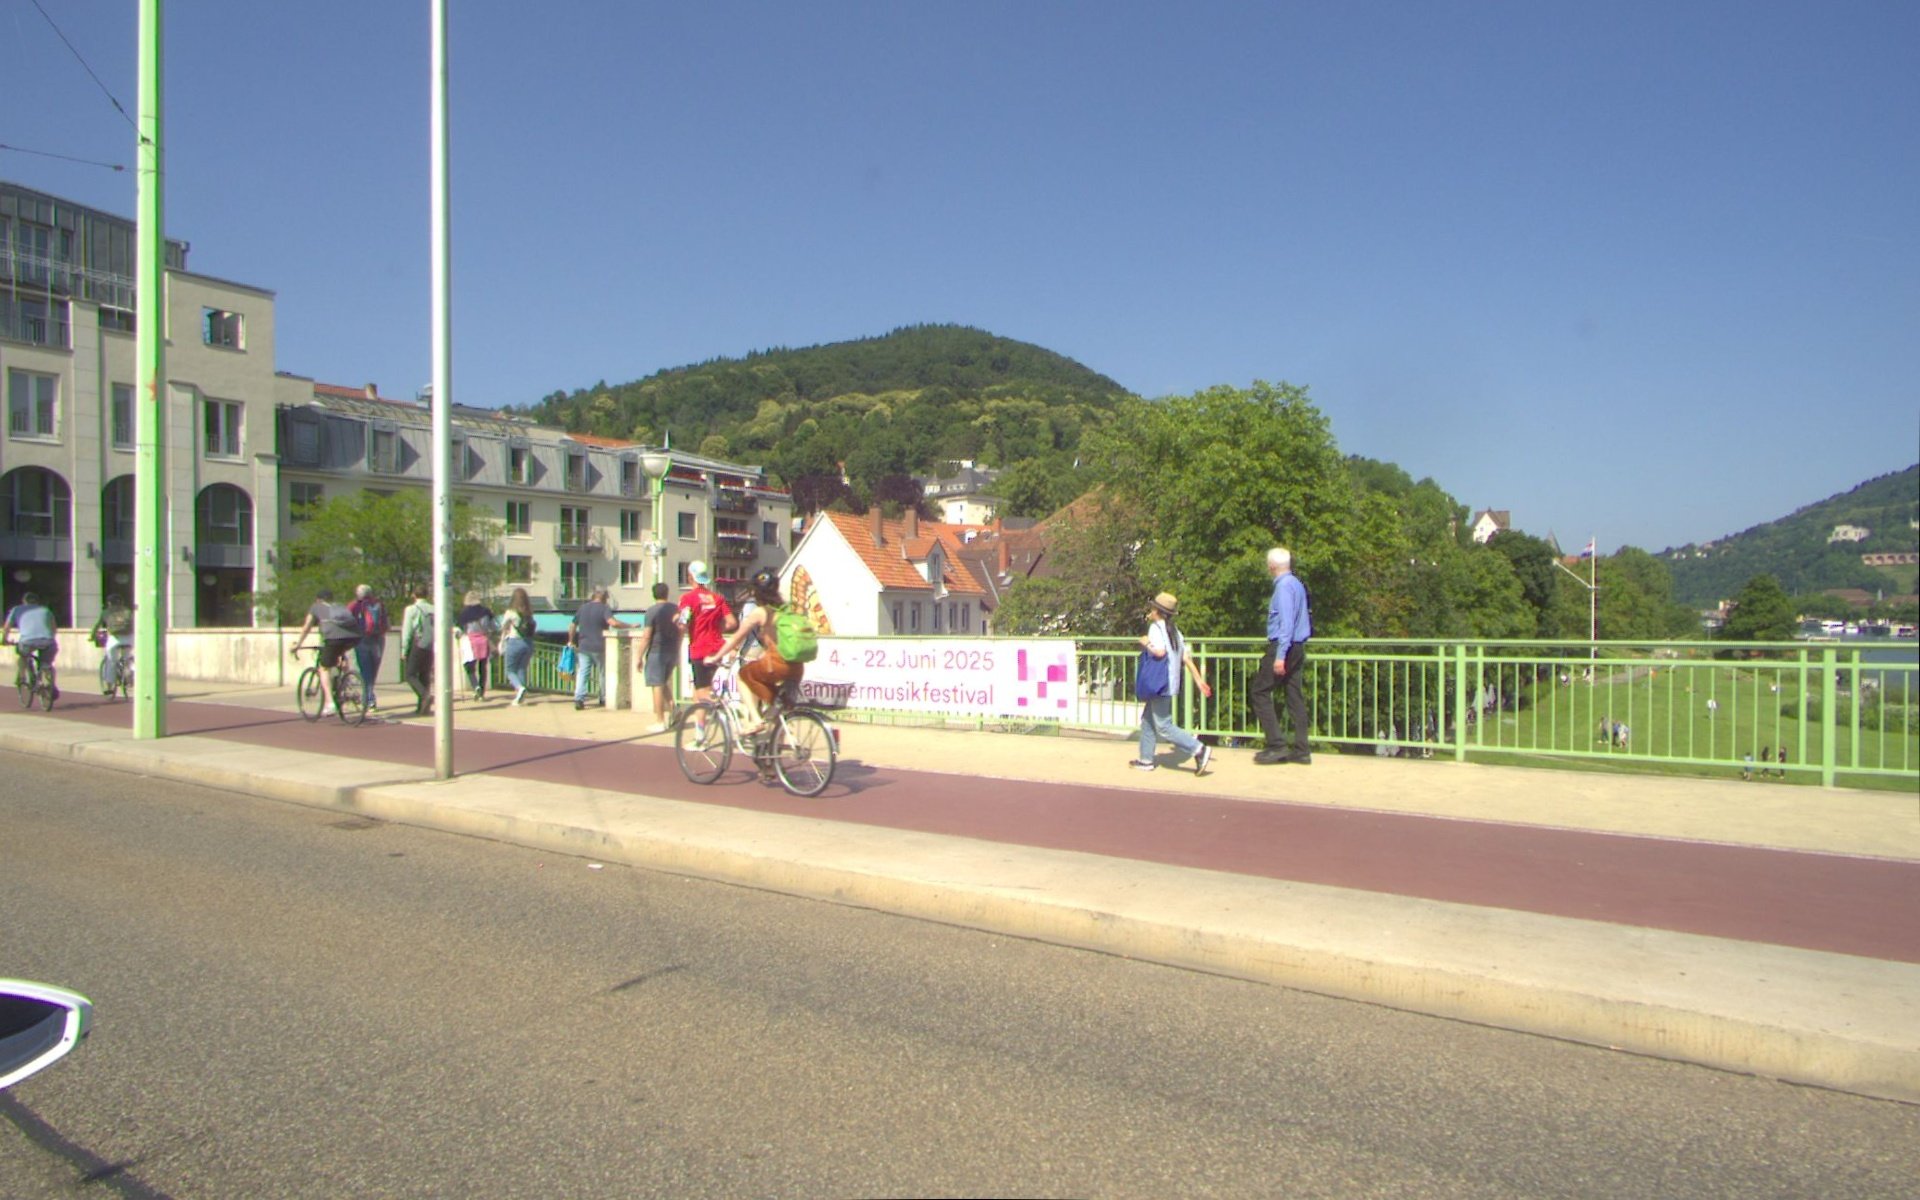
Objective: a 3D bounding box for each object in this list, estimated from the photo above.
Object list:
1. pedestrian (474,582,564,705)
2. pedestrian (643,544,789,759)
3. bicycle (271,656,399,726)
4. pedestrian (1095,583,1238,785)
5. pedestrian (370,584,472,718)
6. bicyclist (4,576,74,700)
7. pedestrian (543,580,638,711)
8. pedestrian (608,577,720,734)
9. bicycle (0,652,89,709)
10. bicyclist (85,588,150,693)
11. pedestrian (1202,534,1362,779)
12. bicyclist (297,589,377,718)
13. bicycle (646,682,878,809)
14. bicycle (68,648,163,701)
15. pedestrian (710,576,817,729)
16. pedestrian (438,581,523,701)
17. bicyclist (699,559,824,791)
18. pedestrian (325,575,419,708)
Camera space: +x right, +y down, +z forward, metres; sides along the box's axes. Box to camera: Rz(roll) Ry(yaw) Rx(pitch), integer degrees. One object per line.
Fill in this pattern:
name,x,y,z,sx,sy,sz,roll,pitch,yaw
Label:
pedestrian,-6.558,0.623,14.902,1.001,1.770,0.738,0,2,30
pedestrian,-2.355,0.470,9.691,1.111,1.950,0.809,0,1,32
bicycle,-7.956,1.133,12.728,1.804,0.776,0.593,-1,1,30
pedestrian,1.716,0.642,8.273,0.919,1.550,0.827,0,1,32
pedestrian,-7.329,0.661,13.629,1.057,1.741,0.753,0,2,32
bicyclist,-14.141,0.569,15.376,0.691,1.844,0.586,0,1,30
pedestrian,-5.328,0.626,14.531,0.961,1.801,1.207,-1,1,-4
pedestrian,-3.438,0.612,11.636,1.001,1.741,0.737,0,2,32
bicycle,-14.171,1.218,15.405,1.838,0.776,0.593,-1,1,30
bicyclist,-13.819,0.648,16.421,0.691,1.672,0.586,0,1,30
pedestrian,2.765,0.451,8.572,1.121,1.923,0.924,0,1,32
bicyclist,-7.878,0.657,12.669,0.691,1.579,0.586,0,1,30
bicycle,-1.545,1.067,7.680,1.840,0.776,0.592,-1,1,33
bicycle,-13.894,1.208,16.469,1.838,0.776,0.593,-1,1,30
pedestrian,-2.347,0.606,11.972,1.001,1.741,0.738,0,1,32
pedestrian,-7.483,0.619,15.623,1.001,1.801,0.737,0,2,32
bicyclist,-1.505,0.541,7.628,0.692,1.672,0.603,0,1,33
pedestrian,-8.400,0.574,14.311,1.001,1.826,0.737,0,2,32
